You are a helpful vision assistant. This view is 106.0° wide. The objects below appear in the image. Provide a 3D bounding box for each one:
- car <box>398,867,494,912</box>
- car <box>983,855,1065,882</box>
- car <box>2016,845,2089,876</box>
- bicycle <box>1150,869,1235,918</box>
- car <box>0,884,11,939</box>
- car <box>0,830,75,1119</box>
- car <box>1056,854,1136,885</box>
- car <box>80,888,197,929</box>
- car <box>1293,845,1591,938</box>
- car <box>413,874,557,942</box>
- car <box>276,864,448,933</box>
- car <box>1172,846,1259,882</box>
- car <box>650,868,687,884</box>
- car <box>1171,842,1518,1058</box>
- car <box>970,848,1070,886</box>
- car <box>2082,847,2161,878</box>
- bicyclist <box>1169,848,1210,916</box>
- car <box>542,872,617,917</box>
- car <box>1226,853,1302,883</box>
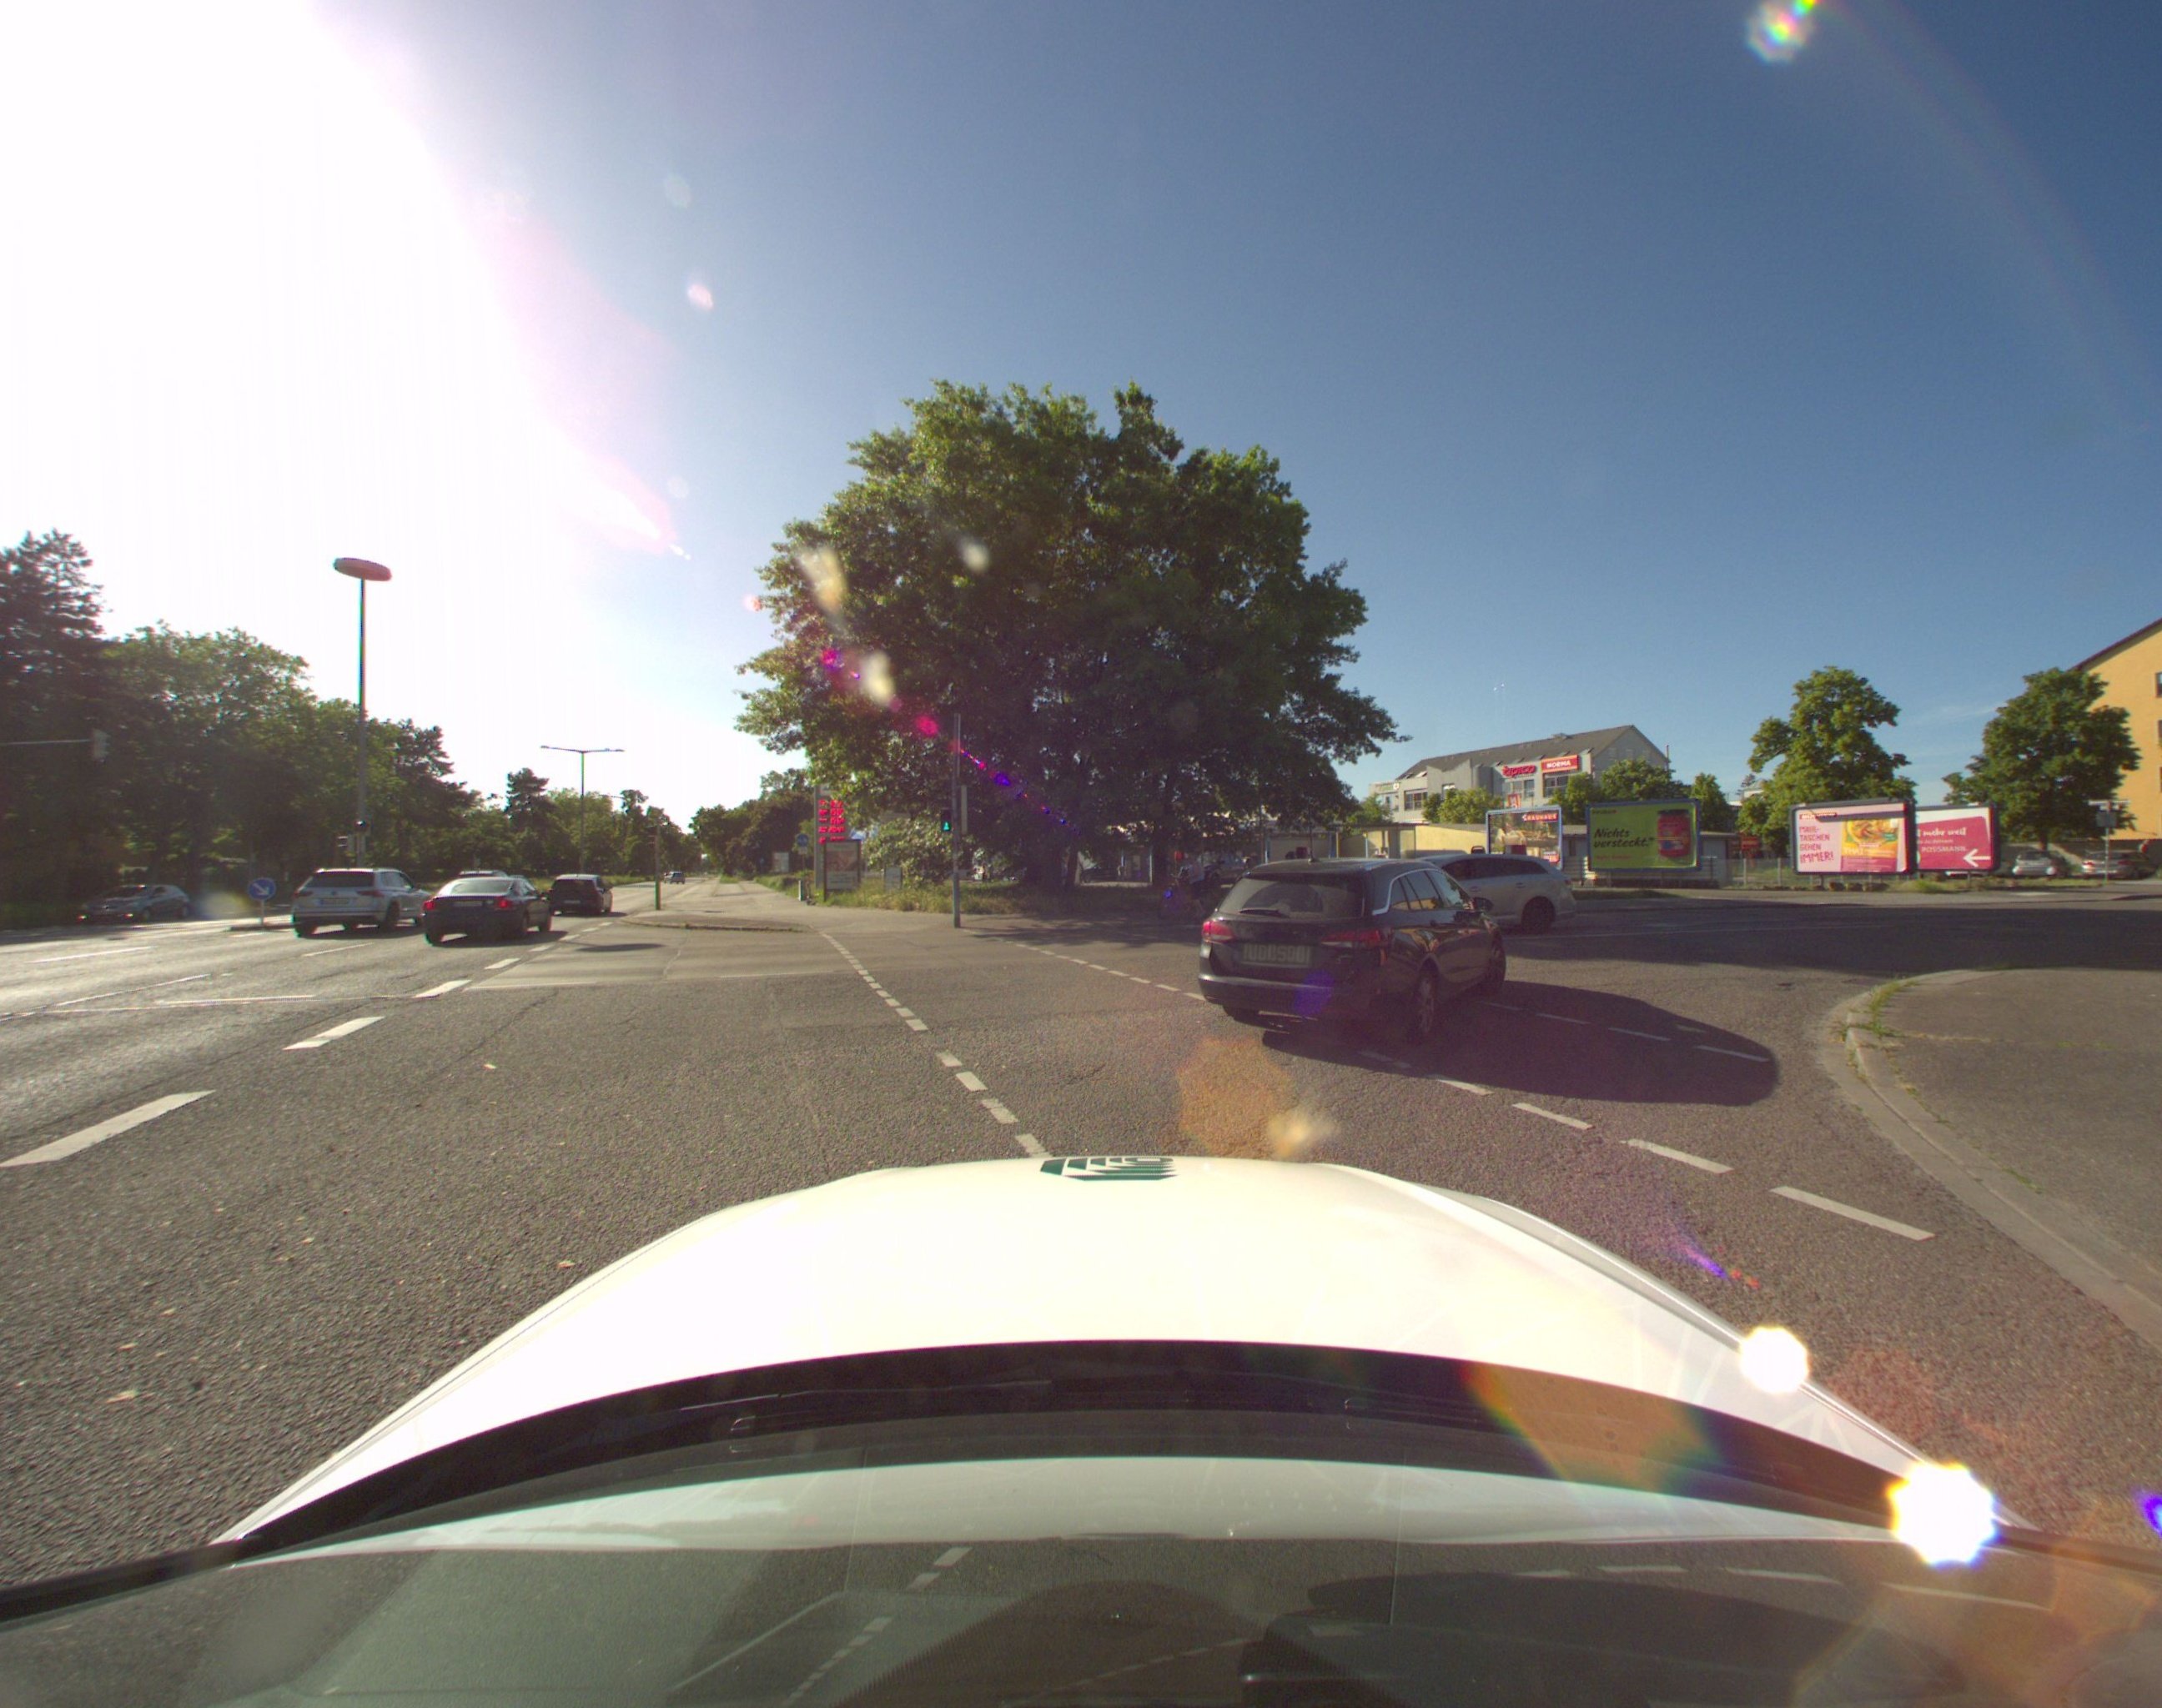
[{"bbox_3d":[-24.894,1.375,32.108,1.919,1.653,4.330,2,-2,-24],"label":"car"},{"bbox_3d":[-3.035,0.813,43.705,4.016,1.335,1.780,2,-3,-35],"label":"car"},{"bbox_3d":[51.965,0.345,43.547,3.890,1.622,1.688,-1,-1,-27],"label":"car"},{"bbox_3d":[2.745,0.959,20.029,2.025,1.141,0.526,-1,-1,-18],"label":"bicycle"},{"bbox_3d":[-32.806,1.668,22.684,1.810,1.653,4.072,2,-2,-24],"label":"car"},{"bbox_3d":[-6.446,0.651,2.875,1.830,1.684,4.356,1,-2,-24],"label":"car"},{"bbox_3d":[0.812,0.845,42.224,4.015,1.512,1.516,2,-3,-34],"label":"car"},{"bbox_3d":[-37.057,2.105,32.143,1.554,1.432,3.570,0,-2,-23],"label":"car"},{"bbox_3d":[6.593,0.651,15.044,4.877,1.489,1.835,-1,-2,-12],"label":"car"},{"bbox_3d":[-13.789,1.195,19.133,1.845,1.395,4.329,2,-2,-25],"label":"car"},{"bbox_3d":[-18.953,1.148,21.762,1.950,1.653,4.334,2,-2,-20],"label":"car"},{"bbox_3d":[5.771,0.470,34.588,1.737,1.376,4.023,-1,-3,43],"label":"car"},{"bbox_3d":[-51.157,2.735,101.087,3.950,2.014,2.011,0,-2,26],"label":"car"},{"bbox_3d":[2.775,0.667,7.845,1.745,1.491,4.318,0,0,39],"label":"car"},{"bbox_3d":[-3.645,0.824,49.079,5.662,2.099,1.983,2,-2,-25],"label":"car"},{"bbox_3d":[52.012,0.421,40.582,3.887,1.464,1.720,-1,-1,-25],"label":"car"},{"bbox_3d":[2.657,0.678,20.008,0.829,1.642,0.539,-1,-1,-18],"label":"bicyclist"},{"bbox_3d":[-19.174,1.494,31.301,1.845,1.588,4.330,1,-2,-24],"label":"car"},{"bbox_3d":[10.772,0.844,47.952,4.006,1.607,1.983,2,-2,-25],"label":"car"}]
